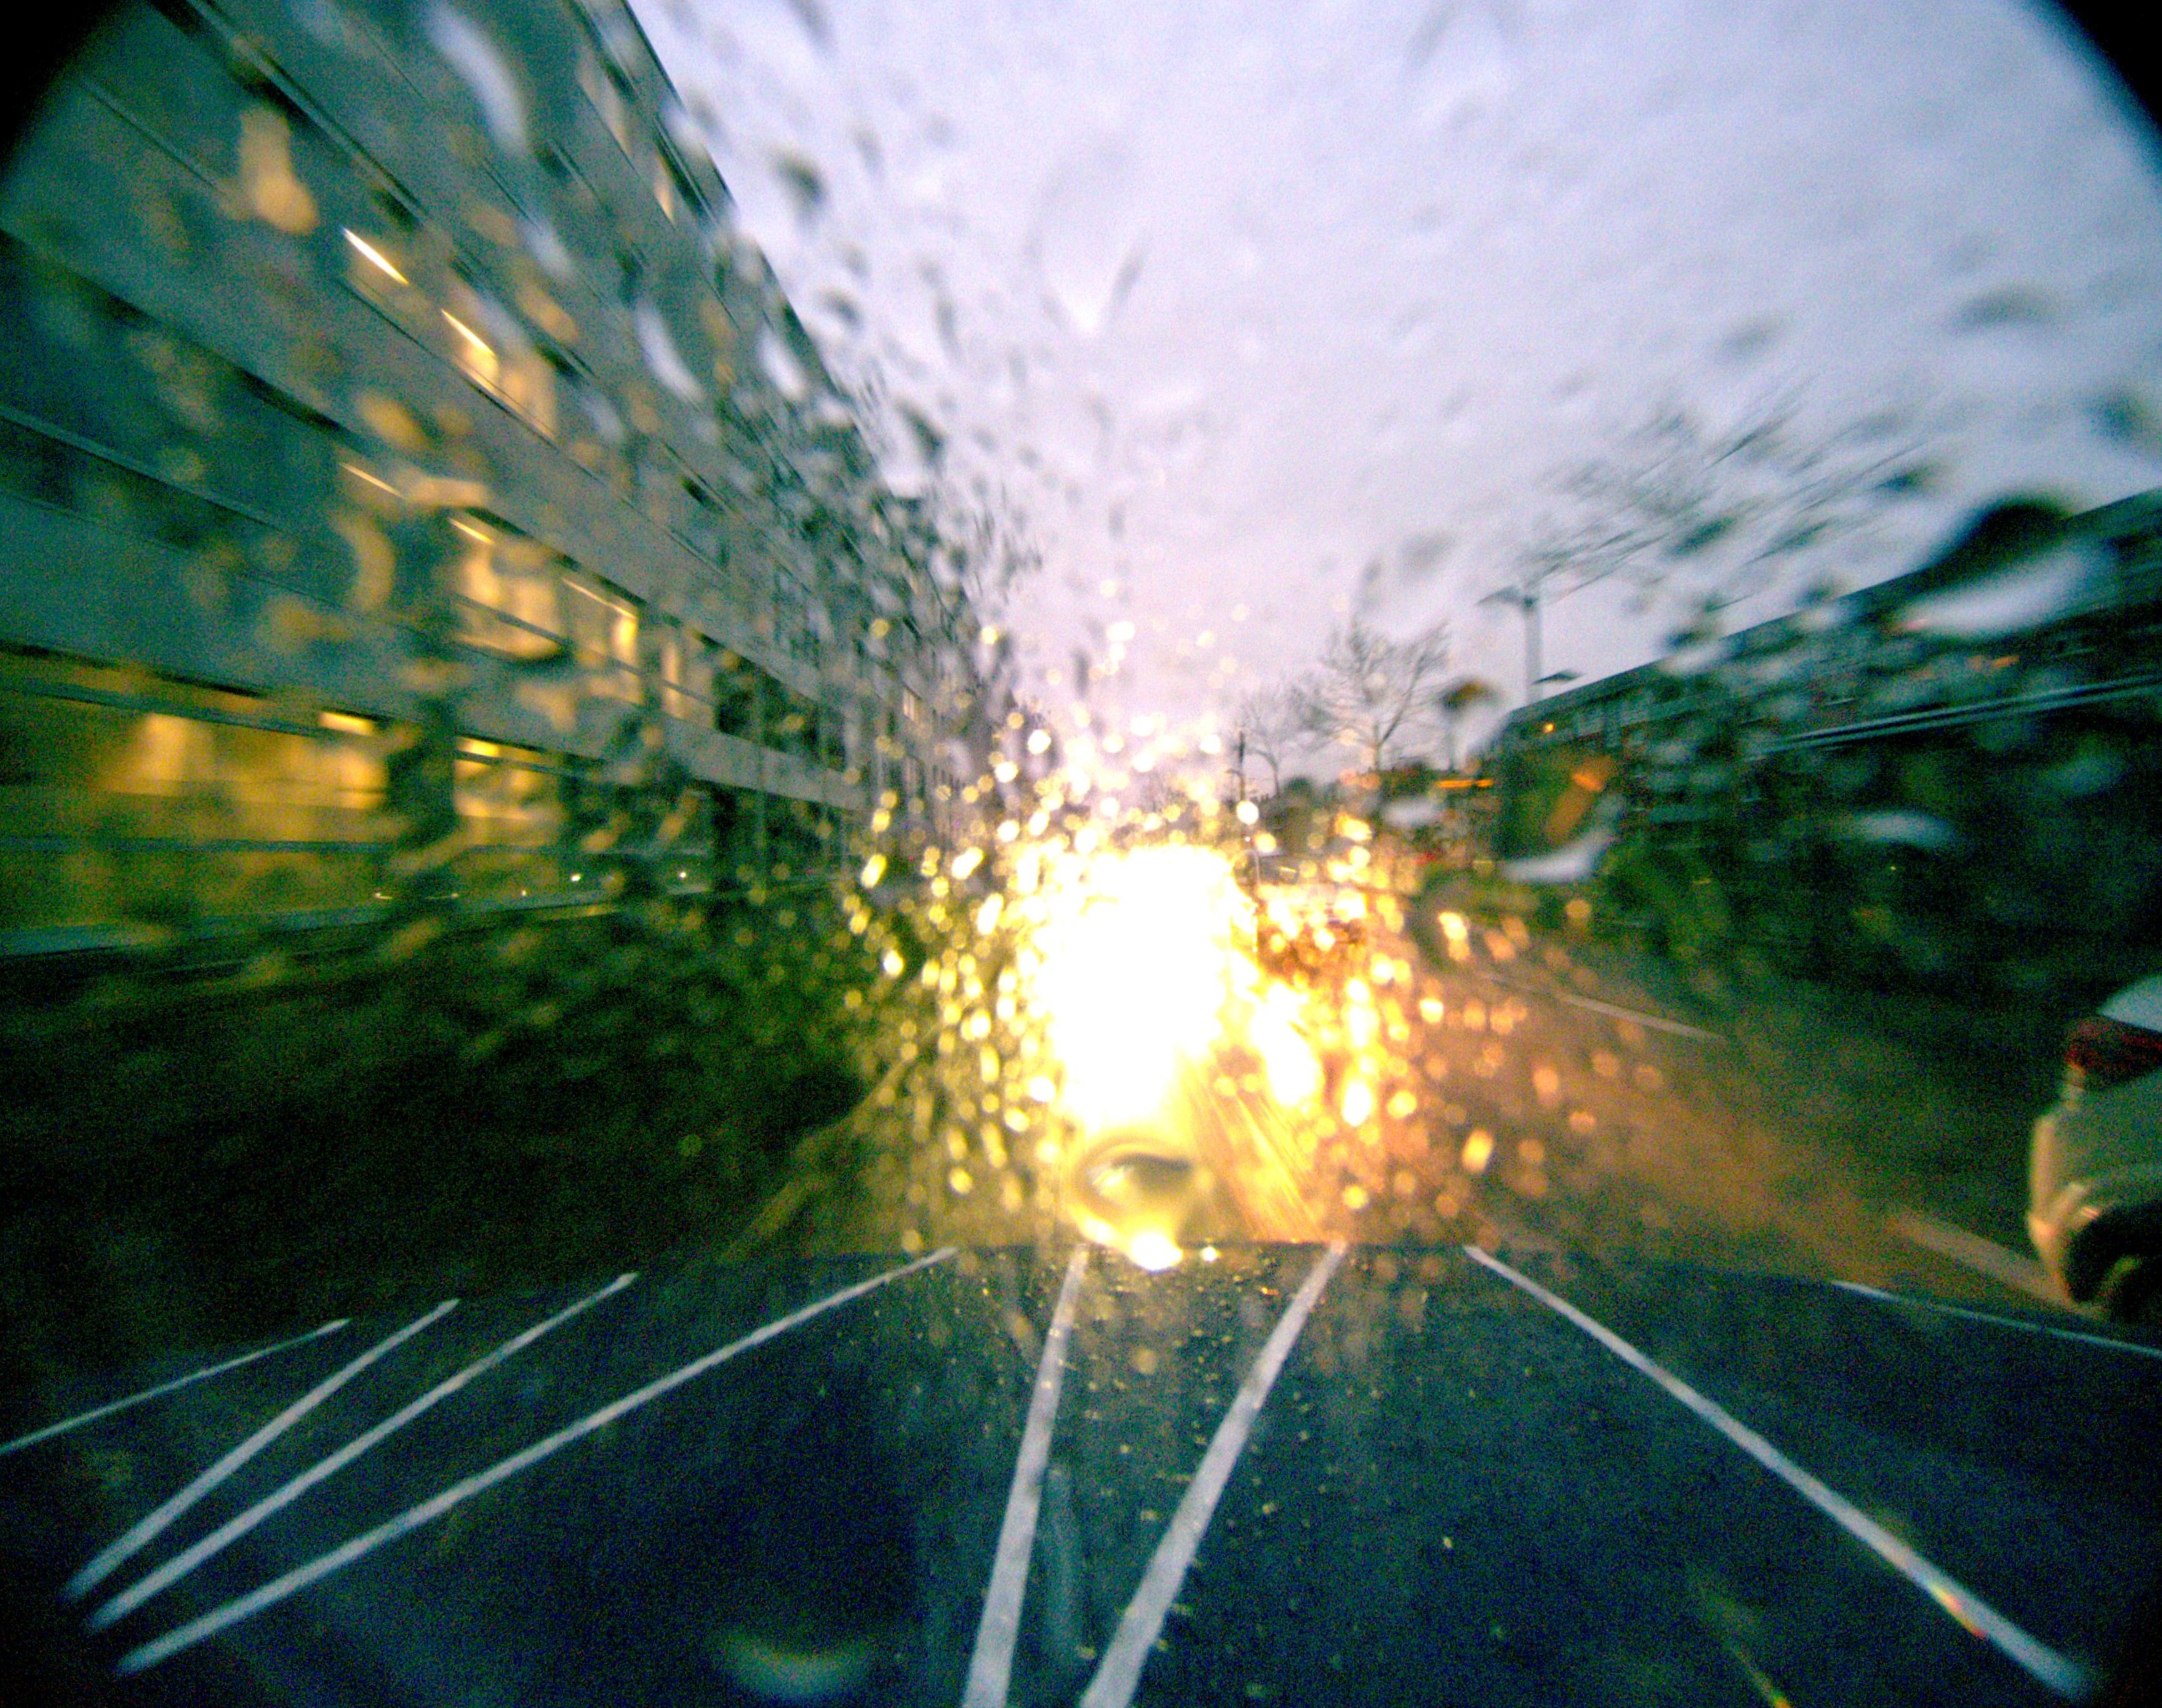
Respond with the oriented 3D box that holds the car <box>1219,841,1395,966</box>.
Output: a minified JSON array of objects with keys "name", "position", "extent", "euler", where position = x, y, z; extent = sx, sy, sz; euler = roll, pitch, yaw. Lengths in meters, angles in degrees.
[{"name":"car","position":[3.514,0.669,12.613],"extent":[2.020,1.667,4.001],"euler":[-2,1,6]}]

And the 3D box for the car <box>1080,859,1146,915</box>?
[{"name":"car","position":[0.915,0.916,22.551],"extent":[1.757,1.418,3.804],"euler":[-2,0,1]}]

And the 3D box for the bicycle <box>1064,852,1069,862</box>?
[{"name":"bicycle","position":[-1.728,0.307,89.152],"extent":[0.552,1.109,2.165],"euler":[0,1,0]}]

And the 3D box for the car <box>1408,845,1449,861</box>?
[{"name":"car","position":[30.462,-0.130,66.687],"extent":[1.783,1.285,4.214],"euler":[-2,1,2]}]

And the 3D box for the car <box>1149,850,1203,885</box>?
[{"name":"car","position":[4.499,0.616,36.644],"extent":[1.975,1.492,4.091],"euler":[-2,0,-1]}]

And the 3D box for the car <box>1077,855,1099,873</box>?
[{"name":"car","position":[0.548,0.757,58.795],"extent":[1.595,1.386,3.486],"euler":[1,0,0]}]

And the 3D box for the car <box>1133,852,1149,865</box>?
[{"name":"car","position":[7.114,0.497,90.267],"extent":[1.539,1.404,3.667],"euler":[-2,1,1]}]

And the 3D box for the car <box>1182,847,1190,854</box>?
[{"name":"car","position":[25.804,-0.752,186.796],"extent":[1.527,1.630,3.748],"euler":[-1,1,-2]}]

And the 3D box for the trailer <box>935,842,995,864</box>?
[{"name":"trailer","position":[-10.760,-0.104,70.467],"extent":[5.078,1.900,2.131],"euler":[-1,-1,6]}]

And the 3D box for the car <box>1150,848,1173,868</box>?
[{"name":"car","position":[7.314,0.328,69.300],"extent":[1.710,1.647,3.753],"euler":[-2,1,1]}]

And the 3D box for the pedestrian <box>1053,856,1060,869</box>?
[{"name":"pedestrian","position":[-3.208,1.114,99.222],"extent":[0.739,1.726,0.702],"euler":[-2,2,-2]}]

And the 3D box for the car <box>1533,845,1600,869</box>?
[{"name":"car","position":[33.601,0.178,52.733],"extent":[1.730,1.535,4.148],"euler":[-2,1,-4]}]

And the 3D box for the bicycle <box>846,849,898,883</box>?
[{"name":"bicycle","position":[-8.488,0.483,30.998],"extent":[0.823,1.266,2.461],"euler":[3,1,17]}]

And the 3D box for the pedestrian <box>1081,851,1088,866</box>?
[{"name":"pedestrian","position":[0.407,0.602,97.596],"extent":[0.773,1.798,0.699],"euler":[3,2,-3]}]

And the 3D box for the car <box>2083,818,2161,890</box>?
[{"name":"car","position":[23.769,0.007,15.520],"extent":[1.763,1.488,3.759],"euler":[-2,1,4]}]

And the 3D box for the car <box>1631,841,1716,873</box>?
[{"name":"car","position":[33.764,0.124,43.458],"extent":[1.729,1.636,4.150],"euler":[-2,1,3]}]

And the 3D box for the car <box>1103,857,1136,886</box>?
[{"name":"car","position":[2.252,1.006,45.036],"extent":[1.764,1.520,3.734],"euler":[-2,1,1]}]
